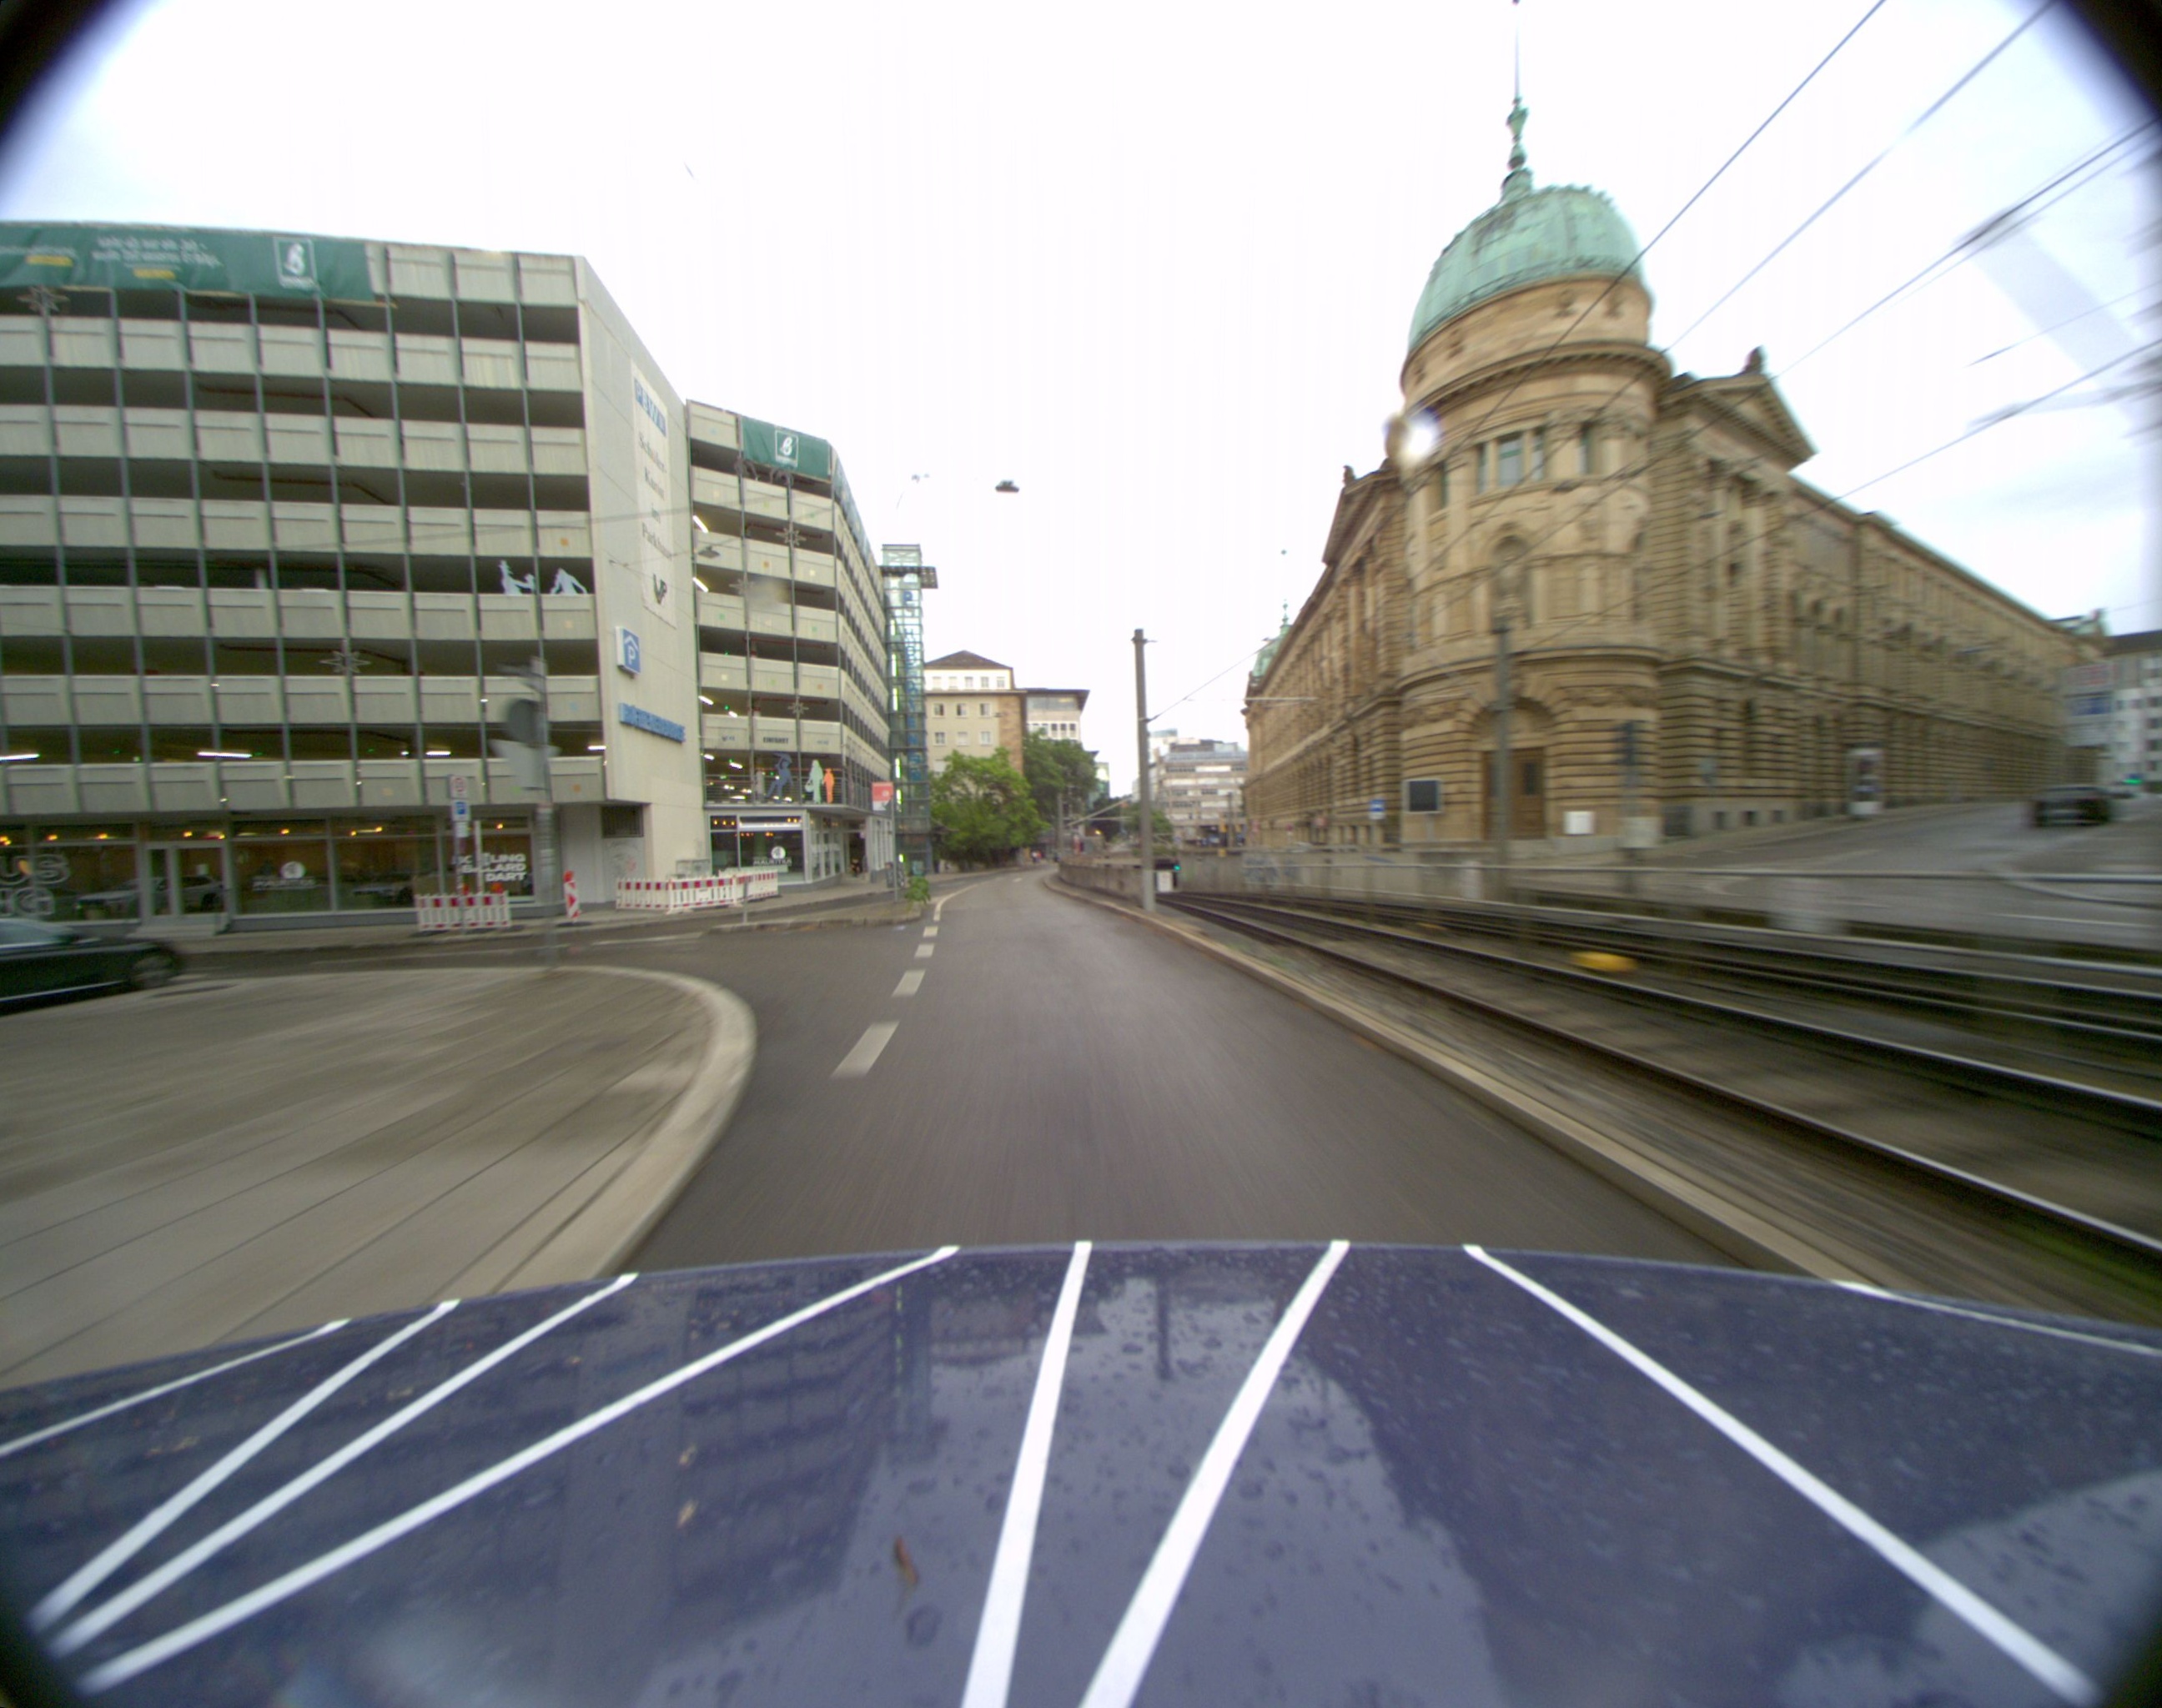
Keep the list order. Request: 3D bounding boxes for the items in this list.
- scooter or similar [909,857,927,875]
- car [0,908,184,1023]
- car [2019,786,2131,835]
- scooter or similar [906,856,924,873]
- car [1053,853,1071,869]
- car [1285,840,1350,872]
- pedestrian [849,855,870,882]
[{"bbox_3d":[-10.655,0.769,49.684,1.078,1.167,0.465,-1,1,-29],"label":"scooter or similar"},{"bbox_3d":[-15.938,1.703,10.395,1.980,1.390,4.695,-4,1,-7],"label":"car"},{"bbox_3d":[38.600,-1.707,29.508,4.005,1.631,1.995,-4,2,-28],"label":"car"},{"bbox_3d":[-11.284,0.709,51.526,1.078,1.167,0.465,-1,1,-29],"label":"scooter or similar"},{"bbox_3d":[-2.569,0.929,102.557,1.999,1.805,3.997,-4,2,-5],"label":"car"},{"bbox_3d":[11.815,0.062,38.232,1.998,1.379,3.999,-4,1,0],"label":"car"},{"bbox_3d":[-11.630,0.745,39.862,0.905,1.375,1.031,0,1,-8],"label":"pedestrian"}]
